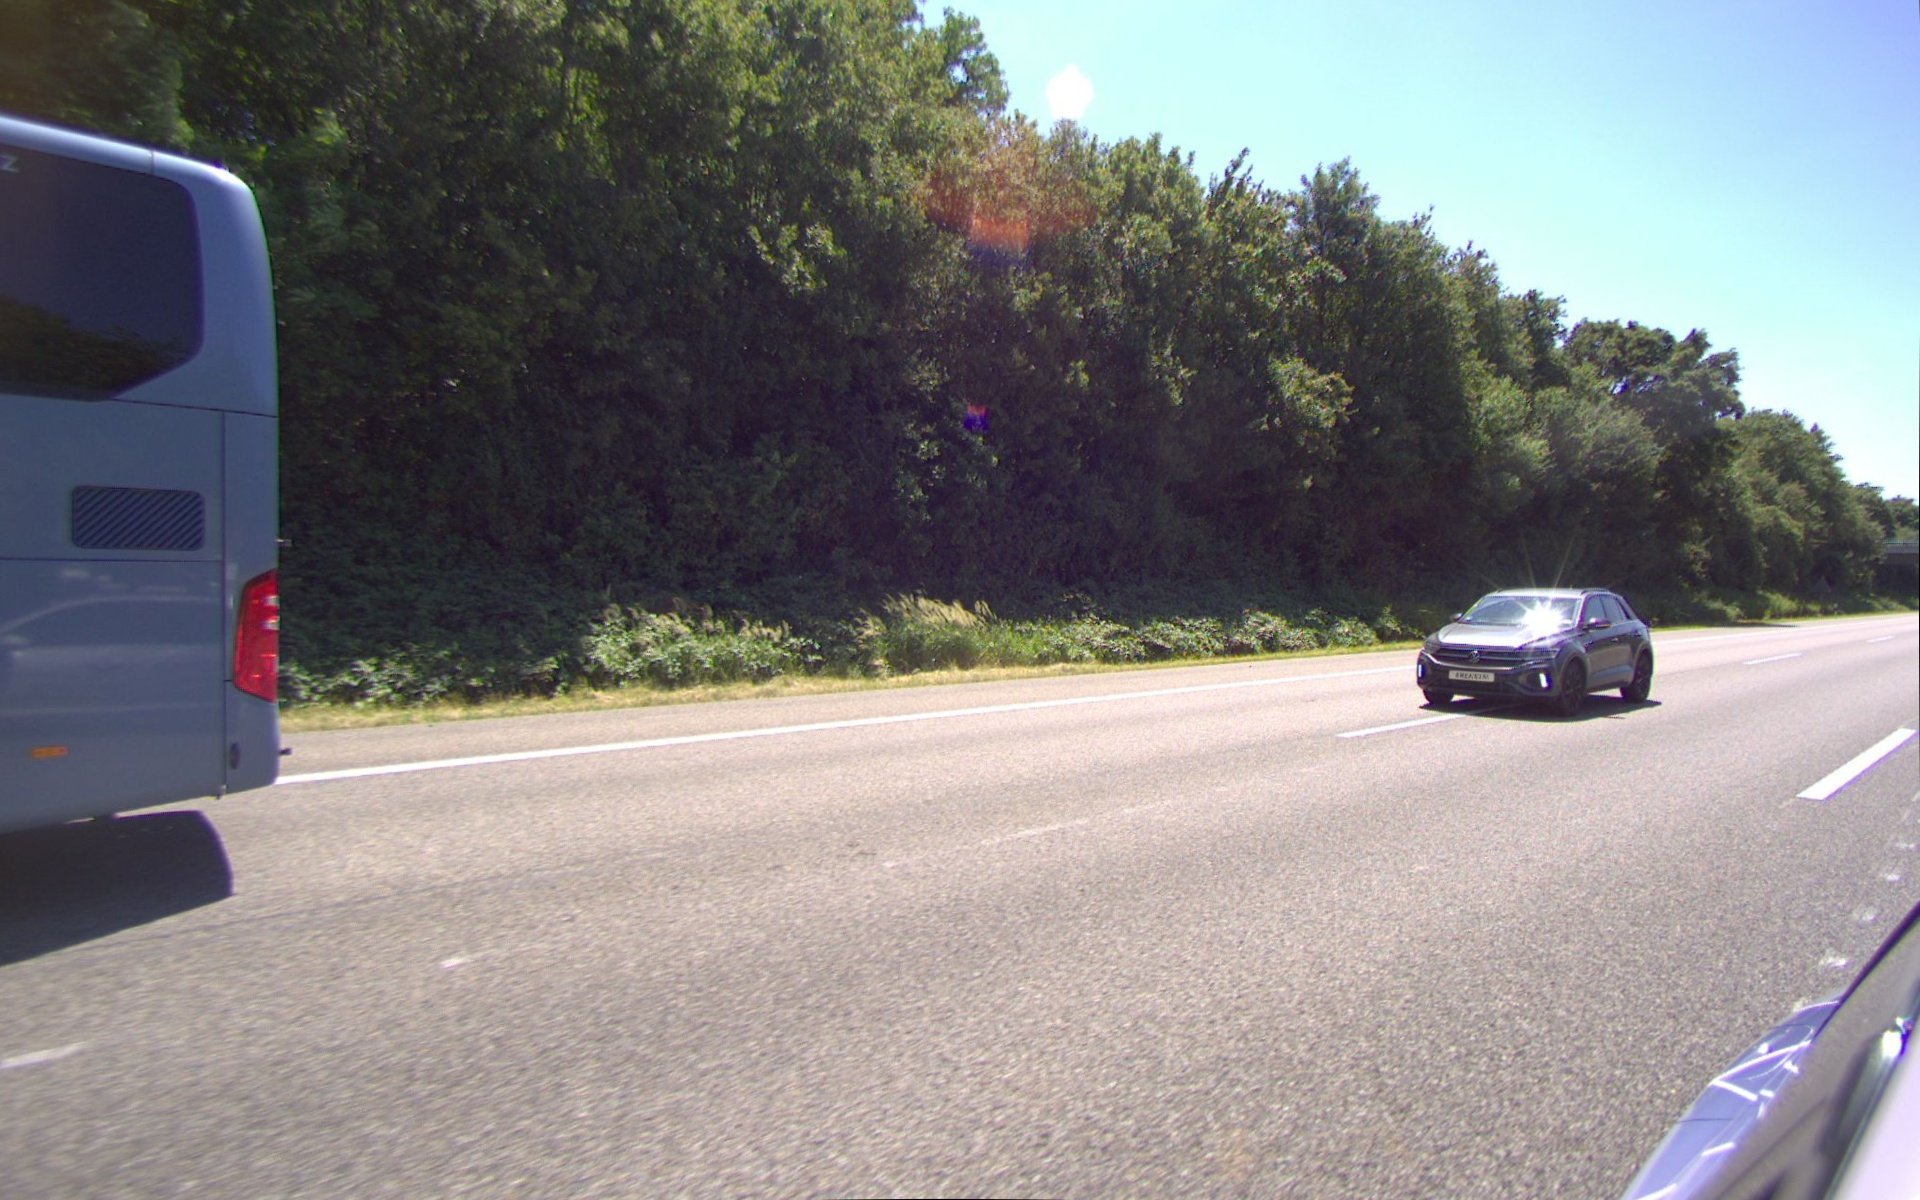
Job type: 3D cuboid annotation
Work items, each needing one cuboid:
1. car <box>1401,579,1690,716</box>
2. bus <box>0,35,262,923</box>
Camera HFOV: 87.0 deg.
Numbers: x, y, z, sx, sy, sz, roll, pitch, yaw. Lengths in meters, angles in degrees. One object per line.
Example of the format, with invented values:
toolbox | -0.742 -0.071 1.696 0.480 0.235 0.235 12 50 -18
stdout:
car | 8.004 0.508 13.643 4.675 1.551 1.903 0 1 -40
bus | -8.750 -0.461 1.698 12.260 3.641 2.806 -1 1 -42
